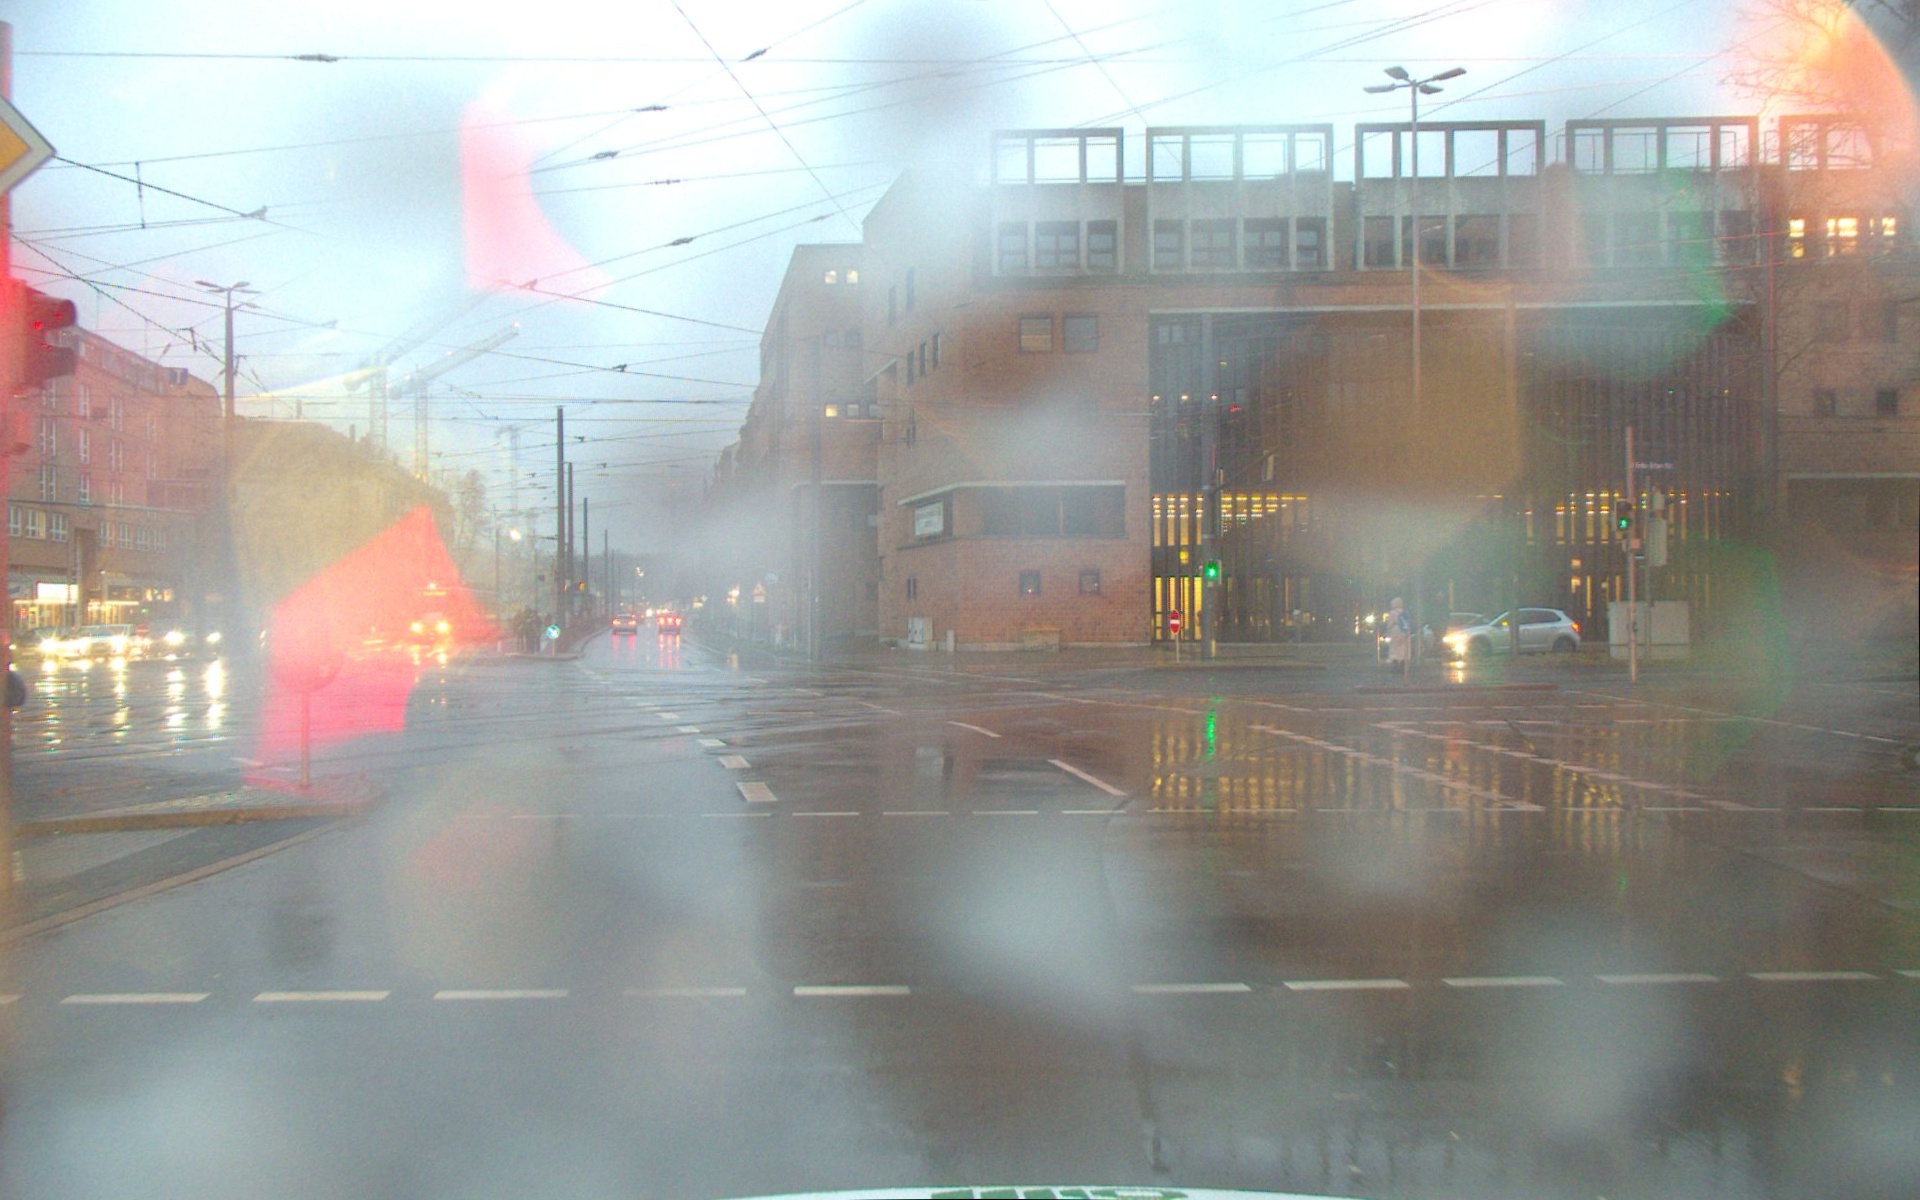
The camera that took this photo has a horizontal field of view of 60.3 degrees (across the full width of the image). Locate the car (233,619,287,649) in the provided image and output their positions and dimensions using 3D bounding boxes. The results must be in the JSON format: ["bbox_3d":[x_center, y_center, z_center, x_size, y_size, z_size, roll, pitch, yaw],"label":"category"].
[{"bbox_3d":[-33.190,1.600,78.497,1.652,1.378,3.535,1,-1,-12],"label":"car"}]

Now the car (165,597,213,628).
[{"bbox_3d":[-52.018,0.839,111.703,1.958,2.049,3.989,1,-1,-11],"label":"car"}]

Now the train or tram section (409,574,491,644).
[{"bbox_3d":[-28.685,0.537,93.532,2.897,3.652,12.223,1,-1,-10],"label":"train or tram section"}]

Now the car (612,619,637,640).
[{"bbox_3d":[-25.842,2.266,127.447,1.751,1.492,3.142,-1,0,-9],"label":"car"}]

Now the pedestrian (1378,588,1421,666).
[{"bbox_3d":[10.380,0.629,39.077,0.721,1.818,0.732,-1,-1,-14],"label":"pedestrian"}]

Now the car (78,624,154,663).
[{"bbox_3d":[-34.975,1.792,68.642,1.638,1.521,4.191,-1,0,-10],"label":"car"}]

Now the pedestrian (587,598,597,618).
[{"bbox_3d":[-28.022,0.599,125.880,0.671,1.542,0.614,1,-1,-23],"label":"pedestrian"}]

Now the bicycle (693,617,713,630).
[{"bbox_3d":[-23.427,2.152,150.816,1.699,1.073,0.370,-2,0,-13],"label":"bicycle"}]

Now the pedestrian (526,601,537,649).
[{"bbox_3d":[-16.843,0.966,64.962,0.405,1.878,0.667,0,-1,-16],"label":"pedestrian"}]

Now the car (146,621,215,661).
[{"bbox_3d":[-36.046,1.863,76.638,1.796,1.739,4.692,0,0,-11],"label":"car"}]

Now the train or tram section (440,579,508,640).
[{"bbox_3d":[-30.765,0.605,105.099,2.872,3.641,11.006,1,-1,-10],"label":"train or tram section"}]

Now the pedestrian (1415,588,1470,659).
[{"bbox_3d":[12.509,0.602,42.899,1.128,1.818,0.775,-1,-1,-10],"label":"pedestrian"}]

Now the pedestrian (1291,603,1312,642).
[{"bbox_3d":[12.680,0.828,61.449,0.721,1.413,0.738,-1,0,10],"label":"pedestrian"}]

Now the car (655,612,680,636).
[{"bbox_3d":[-24.713,2.010,139.657,1.957,2.049,3.991,-1,0,-9],"label":"car"}]

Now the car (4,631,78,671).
[{"bbox_3d":[-37.978,2.085,68.400,1.553,1.521,3.587,-1,0,-10],"label":"car"}]

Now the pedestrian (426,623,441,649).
[{"bbox_3d":[-24.197,1.655,76.030,0.569,1.173,0.489,1,-1,-10],"label":"pedestrian"}]

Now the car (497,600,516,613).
[{"bbox_3d":[-47.772,0.686,174.159,1.652,1.378,3.535,1,-1,-12],"label":"car"}]

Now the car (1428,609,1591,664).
[{"bbox_3d":[15.315,1.003,46.206,3.907,1.364,1.811,-2,0,-8],"label":"car"}]
